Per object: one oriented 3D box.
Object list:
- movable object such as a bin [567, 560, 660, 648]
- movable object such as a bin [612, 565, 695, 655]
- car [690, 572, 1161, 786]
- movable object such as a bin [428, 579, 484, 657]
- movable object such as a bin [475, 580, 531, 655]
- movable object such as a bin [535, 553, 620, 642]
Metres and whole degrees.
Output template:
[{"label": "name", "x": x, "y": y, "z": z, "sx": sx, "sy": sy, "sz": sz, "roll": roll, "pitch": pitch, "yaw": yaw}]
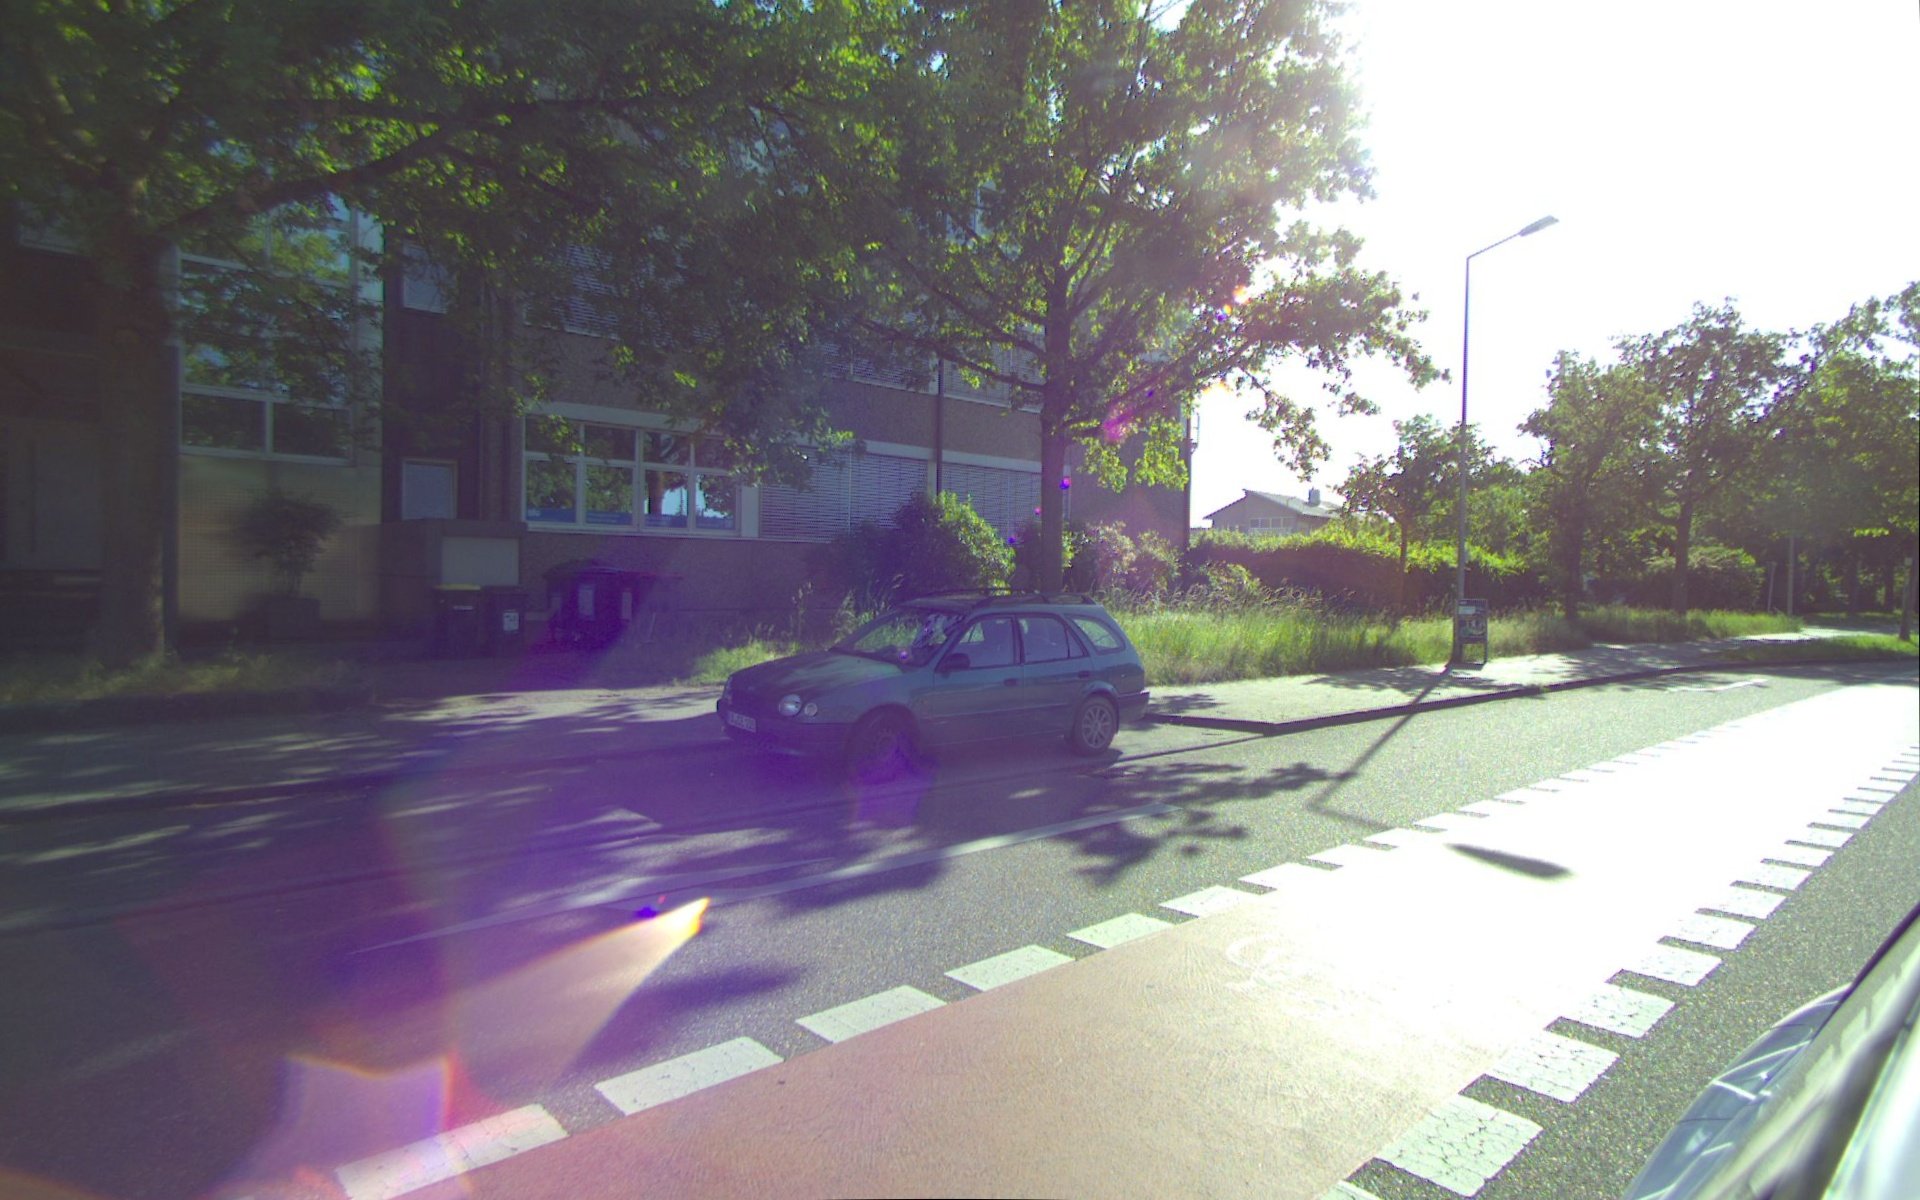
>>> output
[{"label": "movable object such as a bin", "x": -5.773, "y": 0.044, "z": 16.857, "sx": 1.070, "sy": 1.388, "sz": 1.186, "roll": 0, "pitch": 2, "yaw": -43}, {"label": "movable object such as a bin", "x": -4.783, "y": 0.126, "z": 15.769, "sx": 0.878, "sy": 1.323, "sz": 1.186, "roll": 0, "pitch": 2, "yaw": -37}, {"label": "car", "x": -0.147, "y": 0.574, "z": 9.128, "sx": 4.068, "sy": 1.487, "sz": 1.705, "roll": 1, "pitch": 1, "yaw": -41}, {"label": "movable object such as a bin", "x": -7.217, "y": 0.246, "z": 14.493, "sx": 0.575, "sy": 1.070, "sz": 0.625, "roll": 0, "pitch": 1, "yaw": -42}, {"label": "movable object such as a bin", "x": -6.761, "y": 0.241, "z": 14.974, "sx": 0.604, "sy": 1.075, "sz": 0.634, "roll": 0, "pitch": 1, "yaw": -42}, {"label": "movable object such as a bin", "x": -6.783, "y": -0.072, "z": 17.937, "sx": 1.024, "sy": 1.501, "sz": 1.309, "roll": 0, "pitch": 2, "yaw": -41}]
